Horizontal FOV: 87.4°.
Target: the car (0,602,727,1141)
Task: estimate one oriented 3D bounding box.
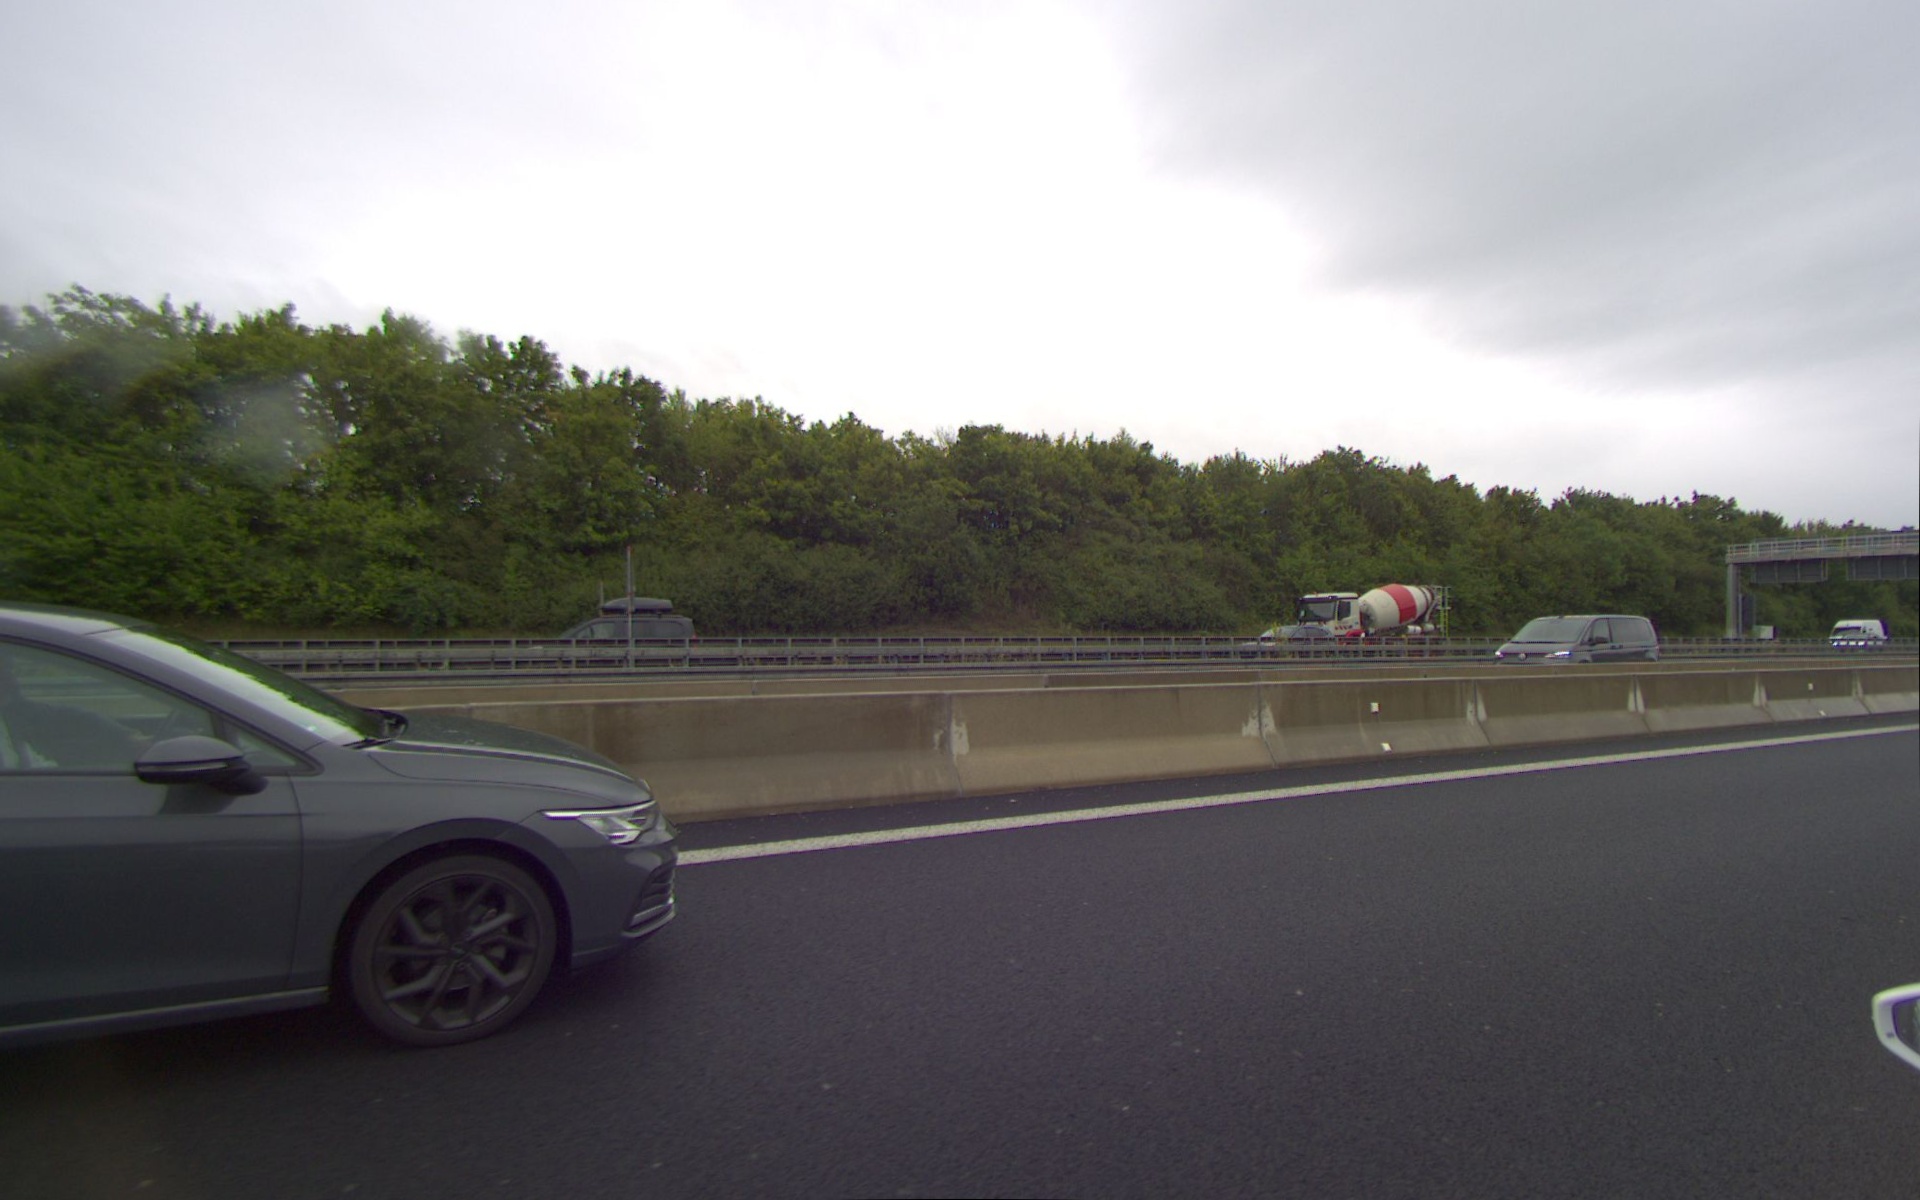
[{"bbox_3d":[-3.186,0.742,3.439,4.316,1.444,1.822,1,0,-30],"label":"car"}]

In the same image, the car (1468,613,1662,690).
[{"bbox_3d":[14.867,1.211,24.617,4.969,1.672,1.983,1,0,-31],"label":"car"}]

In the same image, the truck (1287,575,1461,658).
[{"bbox_3d":[20.060,0.856,48.356,9.448,3.709,2.672,1,-1,-31],"label":"truck"}]

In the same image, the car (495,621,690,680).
[{"bbox_3d":[-9.718,1.305,26.630,4.620,1.425,1.985,1,-1,-30],"label":"car"}]

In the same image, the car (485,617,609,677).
[{"bbox_3d":[-14.790,1.648,35.991,3.951,2.040,1.742,1,-1,-29],"label":"car"}]

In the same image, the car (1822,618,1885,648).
[{"bbox_3d":[68.888,2.565,77.430,5.649,2.243,1.984,1,-1,-31],"label":"car"}]

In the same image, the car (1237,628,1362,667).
[{"bbox_3d":[13.023,1.793,38.493,4.620,1.425,1.985,1,-1,-30],"label":"car"}]

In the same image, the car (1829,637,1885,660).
[{"bbox_3d":[59.845,3.214,67.017,3.870,1.444,1.583,2,0,-29],"label":"car"}]
